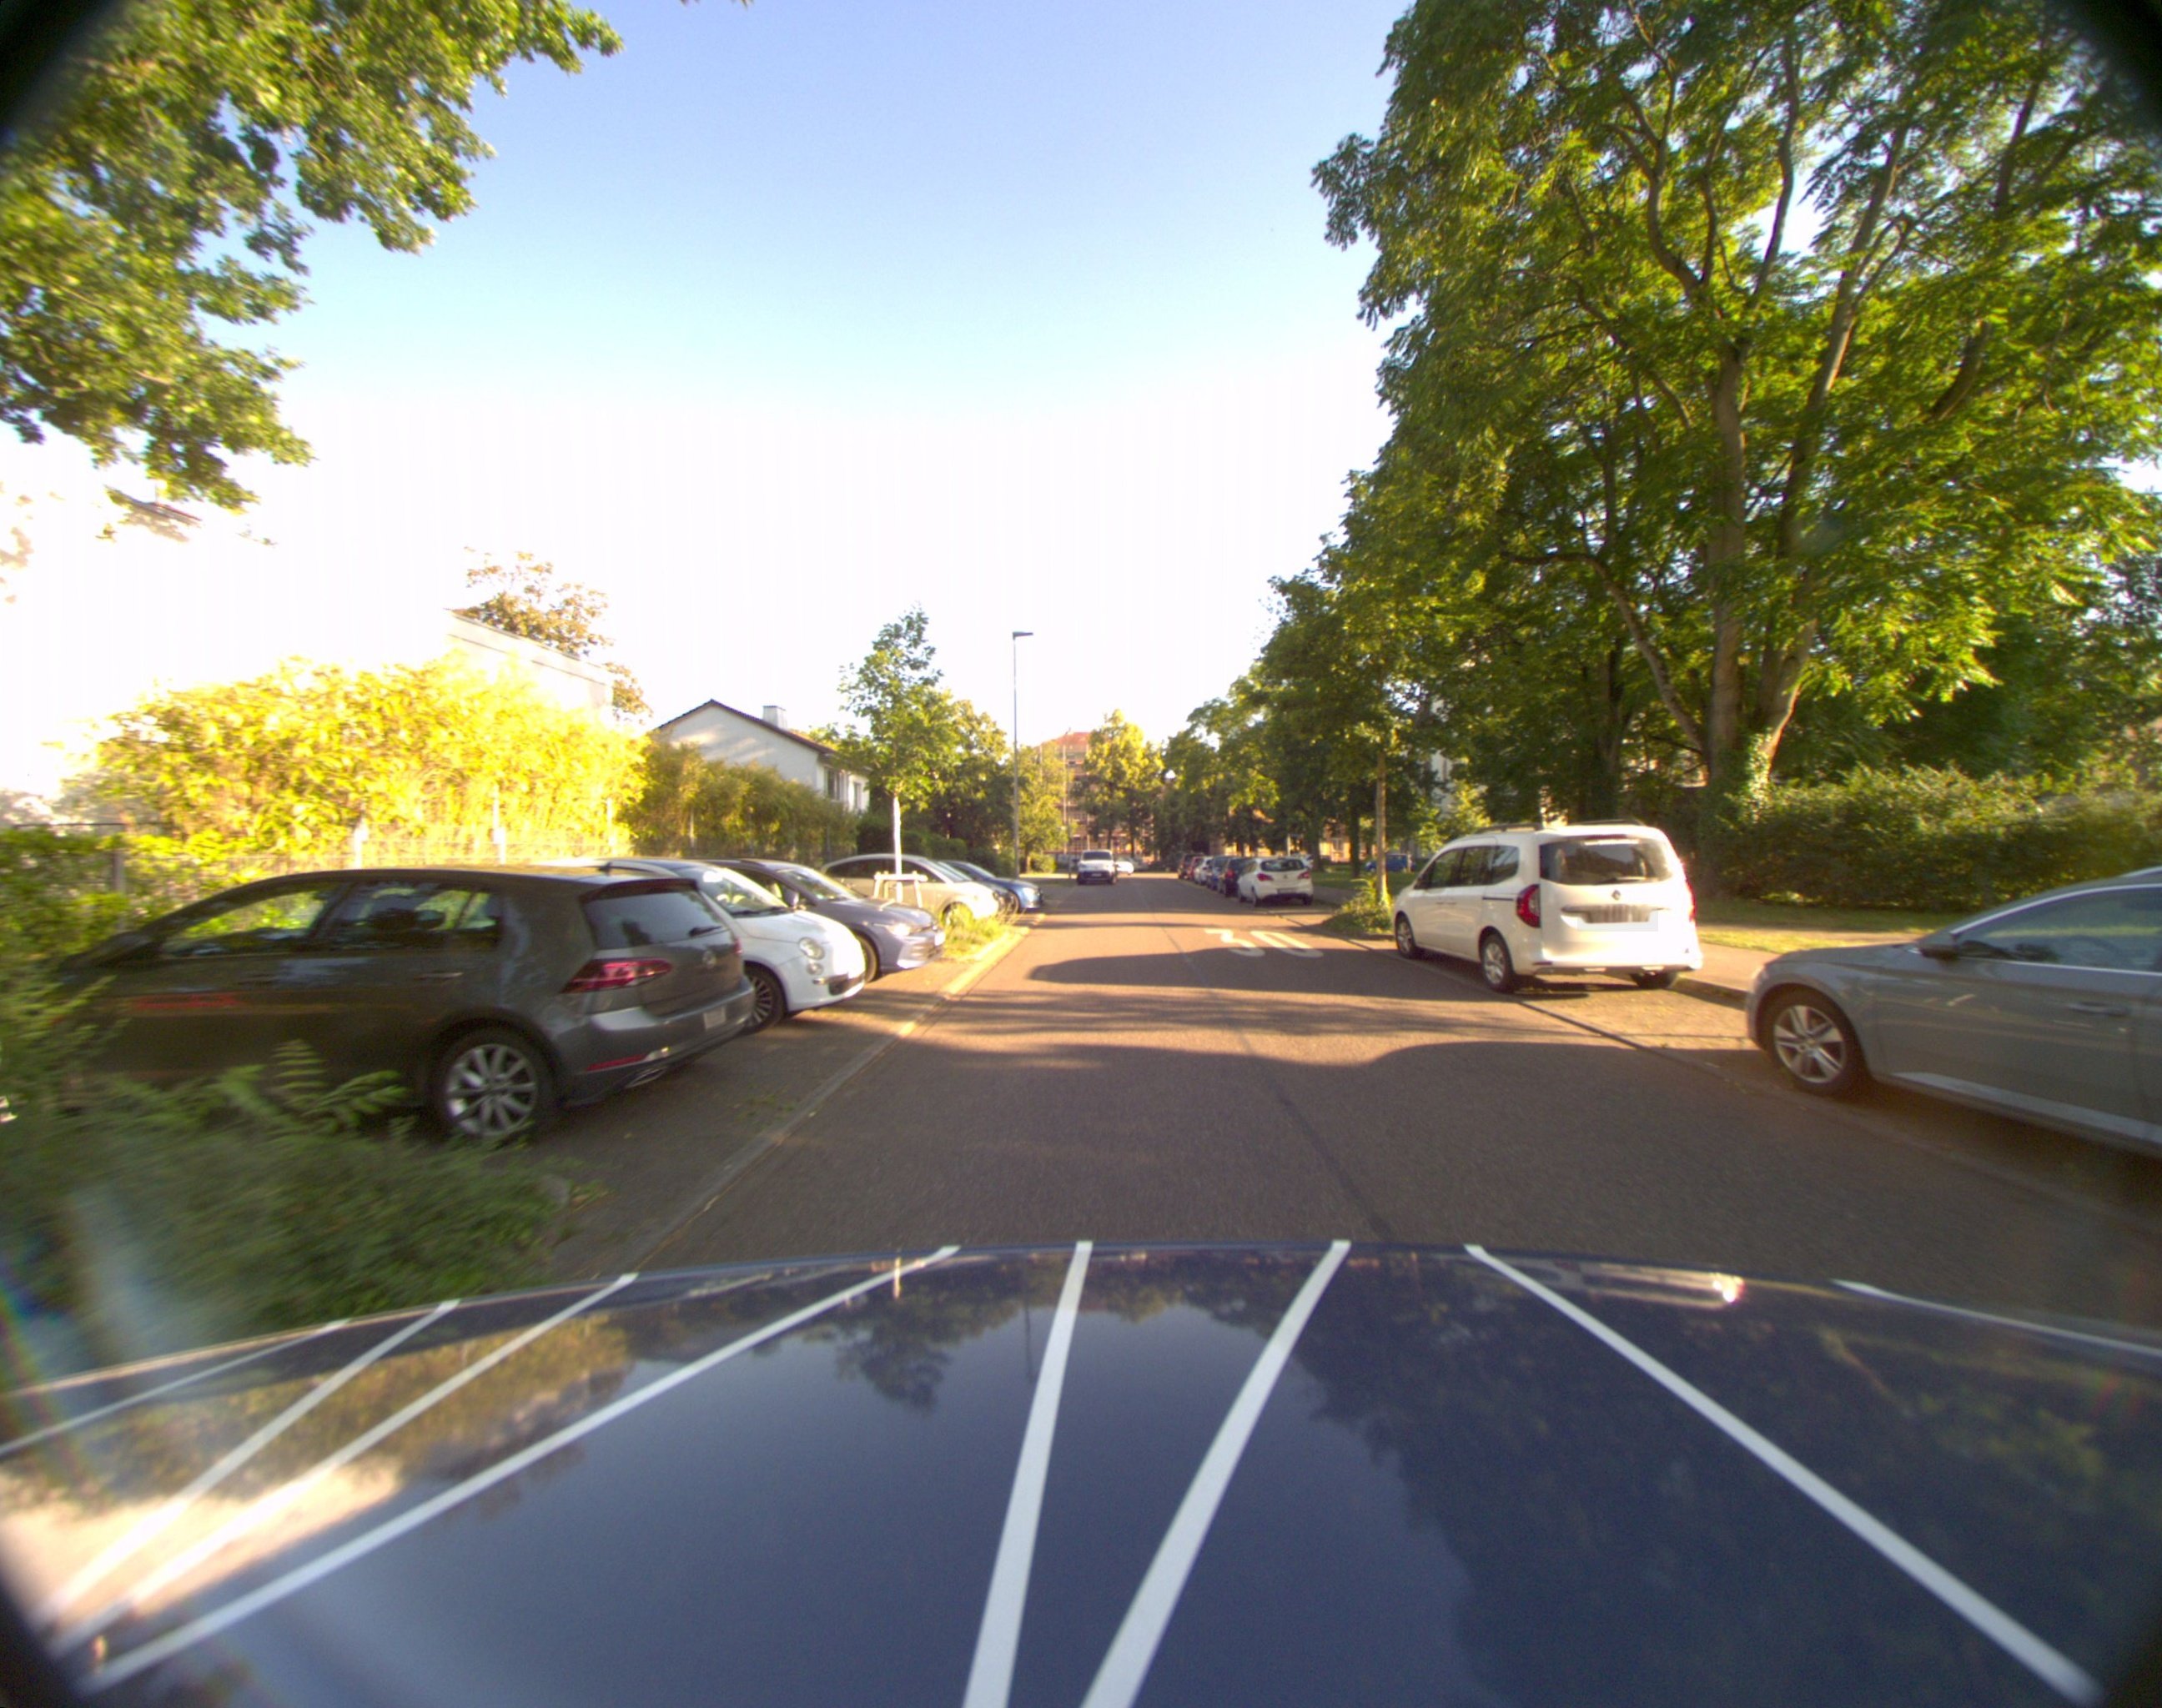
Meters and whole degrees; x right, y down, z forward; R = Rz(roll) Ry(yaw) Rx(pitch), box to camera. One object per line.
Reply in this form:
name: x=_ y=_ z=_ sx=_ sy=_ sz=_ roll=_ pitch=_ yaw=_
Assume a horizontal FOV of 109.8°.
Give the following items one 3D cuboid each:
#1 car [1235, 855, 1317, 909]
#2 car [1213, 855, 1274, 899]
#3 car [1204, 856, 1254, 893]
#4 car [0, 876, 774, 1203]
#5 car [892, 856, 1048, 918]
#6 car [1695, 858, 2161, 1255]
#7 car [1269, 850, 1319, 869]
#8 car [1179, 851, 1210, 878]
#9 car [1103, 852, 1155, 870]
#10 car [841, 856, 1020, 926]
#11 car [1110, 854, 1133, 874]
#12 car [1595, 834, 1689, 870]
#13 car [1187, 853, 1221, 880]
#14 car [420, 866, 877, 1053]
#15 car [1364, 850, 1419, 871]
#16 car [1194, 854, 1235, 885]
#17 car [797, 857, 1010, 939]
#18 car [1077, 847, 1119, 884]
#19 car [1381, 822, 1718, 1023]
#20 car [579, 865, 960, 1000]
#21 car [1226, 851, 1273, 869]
car: x=5.925 y=0.812 z=23.486 sx=1.716 sy=1.500 sz=3.309 roll=-1 pitch=0 yaw=1
car: x=6.077 y=0.816 z=28.776 sx=1.716 sy=1.500 sz=3.680 roll=-1 pitch=0 yaw=4
car: x=6.542 y=0.868 z=33.851 sx=1.716 sy=1.500 sz=3.680 roll=-1 pitch=0 yaw=4
car: x=-4.192 y=0.948 z=4.557 sx=3.996 sy=1.507 sz=1.645 roll=-1 pitch=2 yaw=2
car: x=-2.892 y=0.860 z=20.471 sx=3.921 sy=1.528 sz=1.745 roll=1 pitch=1 yaw=0
car: x=5.294 y=0.831 z=3.101 sx=1.866 sy=1.549 sz=4.839 roll=-1 pitch=0 yaw=3
car: x=17.531 y=0.472 z=62.492 sx=3.565 sy=1.489 sz=1.692 roll=-1 pitch=1 yaw=37
car: x=7.442 y=0.683 z=50.174 sx=1.716 sy=1.673 sz=3.680 roll=-1 pitch=0 yaw=4
car: x=4.656 y=0.699 z=74.047 sx=4.500 sy=1.673 sz=2.291 roll=-1 pitch=-2 yaw=39
car: x=-3.523 y=0.848 z=18.269 sx=3.921 sy=1.528 sz=1.745 roll=1 pitch=1 yaw=0
car: x=3.262 y=0.813 z=61.302 sx=1.781 sy=1.526 sz=4.347 roll=-1 pitch=0 yaw=2
car: x=35.760 y=-0.089 z=48.543 sx=4.759 sy=2.210 sz=1.855 roll=-1 pitch=1 yaw=36
car: x=7.359 y=0.742 z=45.745 sx=1.716 sy=1.500 sz=3.680 roll=-1 pitch=0 yaw=4
car: x=-3.832 y=0.893 z=7.149 sx=3.353 sy=1.483 sz=1.638 roll=1 pitch=1 yaw=1
car: x=23.588 y=0.476 z=57.741 sx=3.564 sy=1.489 sz=1.678 roll=0 pitch=1 yaw=37
car: x=6.897 y=0.785 z=39.505 sx=1.716 sy=1.500 sz=3.680 roll=-1 pitch=0 yaw=4
car: x=-3.516 y=0.846 z=15.545 sx=3.921 sy=1.528 sz=1.745 roll=1 pitch=1 yaw=0
car: x=1.001 y=0.588 z=41.822 sx=2.059 sy=1.919 sz=4.449 roll=-1 pitch=0 yaw=4
car: x=5.401 y=0.665 z=9.535 sx=1.761 sy=1.905 sz=4.239 roll=-2 pitch=0 yaw=3
car: x=-3.788 y=0.906 z=9.686 sx=4.095 sy=1.448 sz=1.812 roll=1 pitch=1 yaw=4
car: x=14.476 y=0.501 z=65.249 sx=3.565 sy=1.489 sz=1.692 roll=-1 pitch=1 yaw=37
